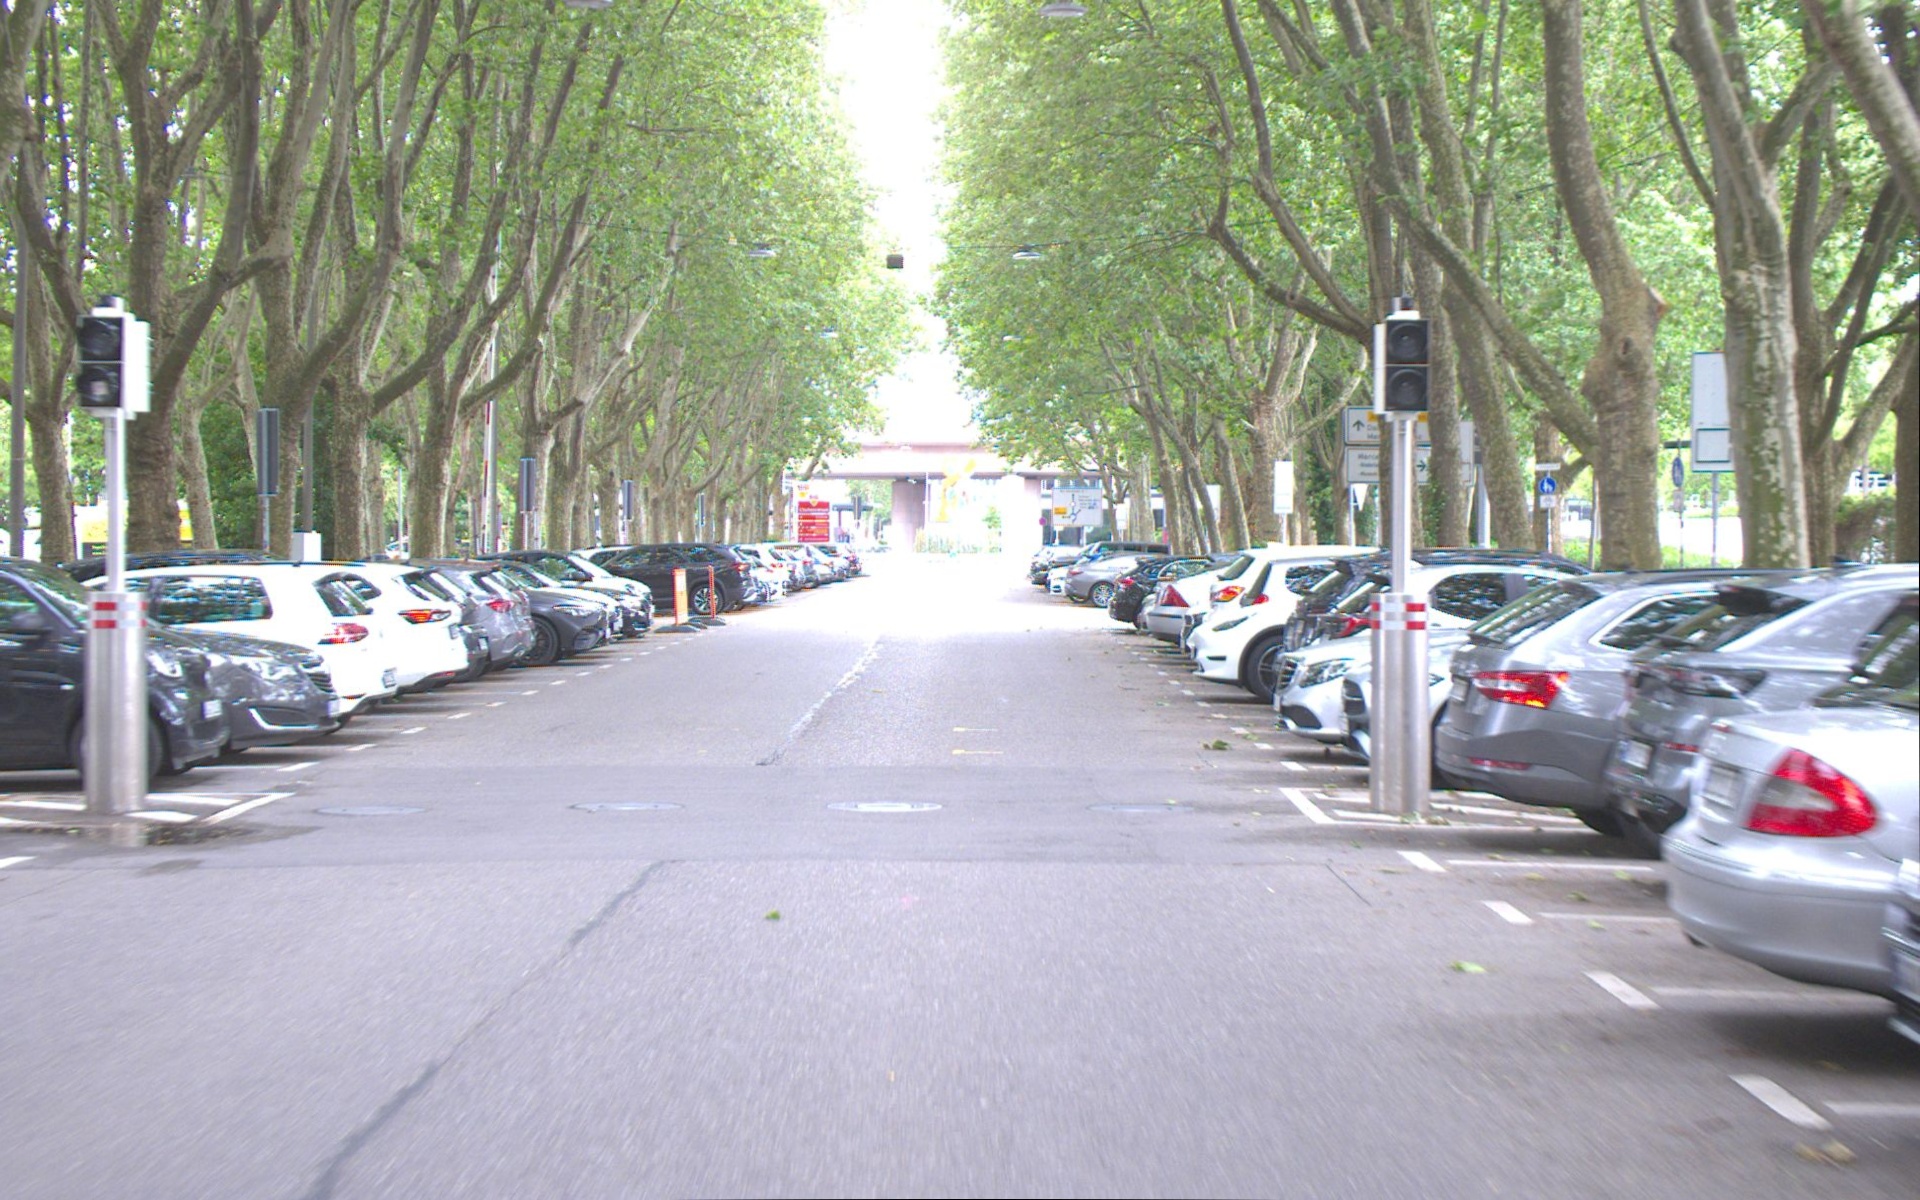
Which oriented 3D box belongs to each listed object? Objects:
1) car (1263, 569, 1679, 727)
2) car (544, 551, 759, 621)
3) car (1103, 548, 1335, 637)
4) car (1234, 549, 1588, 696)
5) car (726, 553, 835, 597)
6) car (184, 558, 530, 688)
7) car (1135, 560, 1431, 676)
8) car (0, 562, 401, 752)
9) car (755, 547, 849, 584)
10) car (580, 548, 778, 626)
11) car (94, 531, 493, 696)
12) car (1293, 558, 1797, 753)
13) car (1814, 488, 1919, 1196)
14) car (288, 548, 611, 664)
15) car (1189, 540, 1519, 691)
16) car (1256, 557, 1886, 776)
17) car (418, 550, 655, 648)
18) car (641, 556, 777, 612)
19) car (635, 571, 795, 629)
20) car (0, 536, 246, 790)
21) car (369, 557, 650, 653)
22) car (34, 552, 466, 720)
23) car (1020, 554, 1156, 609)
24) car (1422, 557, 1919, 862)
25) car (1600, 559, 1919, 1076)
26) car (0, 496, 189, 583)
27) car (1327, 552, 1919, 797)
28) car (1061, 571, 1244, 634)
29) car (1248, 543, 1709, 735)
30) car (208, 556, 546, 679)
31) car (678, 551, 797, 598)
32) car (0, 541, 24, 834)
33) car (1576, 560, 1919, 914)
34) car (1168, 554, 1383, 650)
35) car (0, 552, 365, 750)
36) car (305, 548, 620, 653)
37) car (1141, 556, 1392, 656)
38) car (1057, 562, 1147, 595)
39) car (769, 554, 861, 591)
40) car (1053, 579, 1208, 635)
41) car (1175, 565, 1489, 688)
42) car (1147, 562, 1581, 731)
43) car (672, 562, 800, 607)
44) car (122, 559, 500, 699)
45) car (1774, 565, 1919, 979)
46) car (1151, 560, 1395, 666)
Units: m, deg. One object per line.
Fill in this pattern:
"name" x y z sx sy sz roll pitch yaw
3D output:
"car" 4.822 0.444 32.722 3.645 1.366 1.519 1 1 -3
"car" -6.934 -0.320 77.702 4.664 1.422 2.000 -2 1 -1
"car" 4.533 -0.143 60.531 3.918 1.447 1.556 1 1 -1
"car" 5.000 0.239 38.375 3.645 1.514 1.644 1 1 -3
"car" -6.707 -0.945 128.352 3.814 1.510 1.686 -2 1 6
"car" -7.104 0.258 40.759 3.826 1.425 1.694 -1 1 -2
"car" 4.269 0.221 45.837 3.645 1.419 1.986 1 1 -3
"car" -6.567 0.450 27.814 3.826 1.425 1.694 -1 1 -2
"car" -6.751 -1.493 147.271 3.814 1.510 1.686 1 1 4
"car" -6.568 -0.317 80.580 4.471 1.671 1.762 -2 1 -1
"car" -6.876 0.120 35.787 3.826 1.603 1.859 -1 1 -3
"car" 4.750 0.435 28.227 3.775 1.465 1.624 1 1 -3
"car" 4.331 0.616 8.236 4.113 1.664 1.694 1 1 1
"car" -6.679 0.062 45.250 4.020 1.425 1.694 -1 1 -2
"car" 4.630 0.173 40.685 3.645 1.661 1.519 1 1 -3
"car" 4.462 0.468 25.467 4.296 1.465 1.624 1 1 -3
"car" -7.122 -0.031 58.055 3.826 1.549 1.694 -1 1 -2
"car" -7.620 -0.494 104.569 3.814 1.597 1.785 -2 1 6
"car" -6.263 -0.003 88.036 3.814 1.349 1.662 -2 1 6
"car" -6.817 0.415 22.777 3.826 1.602 1.694 -1 1 -2
"car" -7.208 0.070 55.310 4.332 1.425 1.694 -1 1 -2
"car" -6.783 0.326 33.121 3.826 1.492 1.694 -1 1 -2
"car" 4.242 -0.617 114.512 4.376 1.745 1.731 1 1 -2
"car" 4.737 0.564 18.042 4.366 1.465 1.624 1 1 0
"car" 4.226 0.660 10.706 4.113 1.465 1.694 1 1 0
"car" -23.688 -1.640 93.445 5.077 2.224 1.536 1 1 -1
"car" 4.838 0.477 22.669 4.614 1.465 1.650 1 1 0
"car" 4.923 0.043 87.524 4.575 1.481 2.000 1 1 5
"car" 4.607 0.327 30.932 3.775 1.592 1.821 1 1 -3
"car" -7.226 0.204 42.845 3.827 1.425 1.694 -1 1 5
"car" -7.633 -0.878 118.014 3.814 1.510 1.686 -2 1 6
"car" -7.283 0.520 18.484 4.043 1.602 1.694 -1 0 -2
"car" 4.817 0.605 15.405 3.775 1.465 1.667 1 1 0
"car" 5.306 0.025 58.082 3.425 1.503 1.556 1 1 -1
"car" -6.713 0.371 25.291 4.400 1.360 1.694 -1 1 -2
"car" -7.269 -0.004 50.508 4.401 1.425 1.694 -1 1 -2
"car" 4.695 0.086 52.957 3.678 1.419 1.519 1 1 -1
"car" 6.977 -1.073 169.235 4.377 1.517 1.731 1 1 1
"car" -6.302 -1.188 149.214 3.814 1.510 1.686 1 1 4
"car" 4.720 0.189 94.885 4.176 1.437 1.731 1 1 5
"car" 4.581 0.313 42.613 3.645 1.405 1.519 1 1 -3
"car" 4.119 0.458 35.512 4.166 1.591 1.855 1 1 -3
"car" -7.188 -0.507 110.467 3.814 1.292 1.785 -2 1 6
"car" -7.111 0.302 37.927 3.827 1.425 1.802 -1 1 -1
"car" 5.166 0.650 12.995 3.776 1.465 1.624 1 1 2
"car" 4.528 0.177 50.071 3.425 1.419 1.519 1 1 3
